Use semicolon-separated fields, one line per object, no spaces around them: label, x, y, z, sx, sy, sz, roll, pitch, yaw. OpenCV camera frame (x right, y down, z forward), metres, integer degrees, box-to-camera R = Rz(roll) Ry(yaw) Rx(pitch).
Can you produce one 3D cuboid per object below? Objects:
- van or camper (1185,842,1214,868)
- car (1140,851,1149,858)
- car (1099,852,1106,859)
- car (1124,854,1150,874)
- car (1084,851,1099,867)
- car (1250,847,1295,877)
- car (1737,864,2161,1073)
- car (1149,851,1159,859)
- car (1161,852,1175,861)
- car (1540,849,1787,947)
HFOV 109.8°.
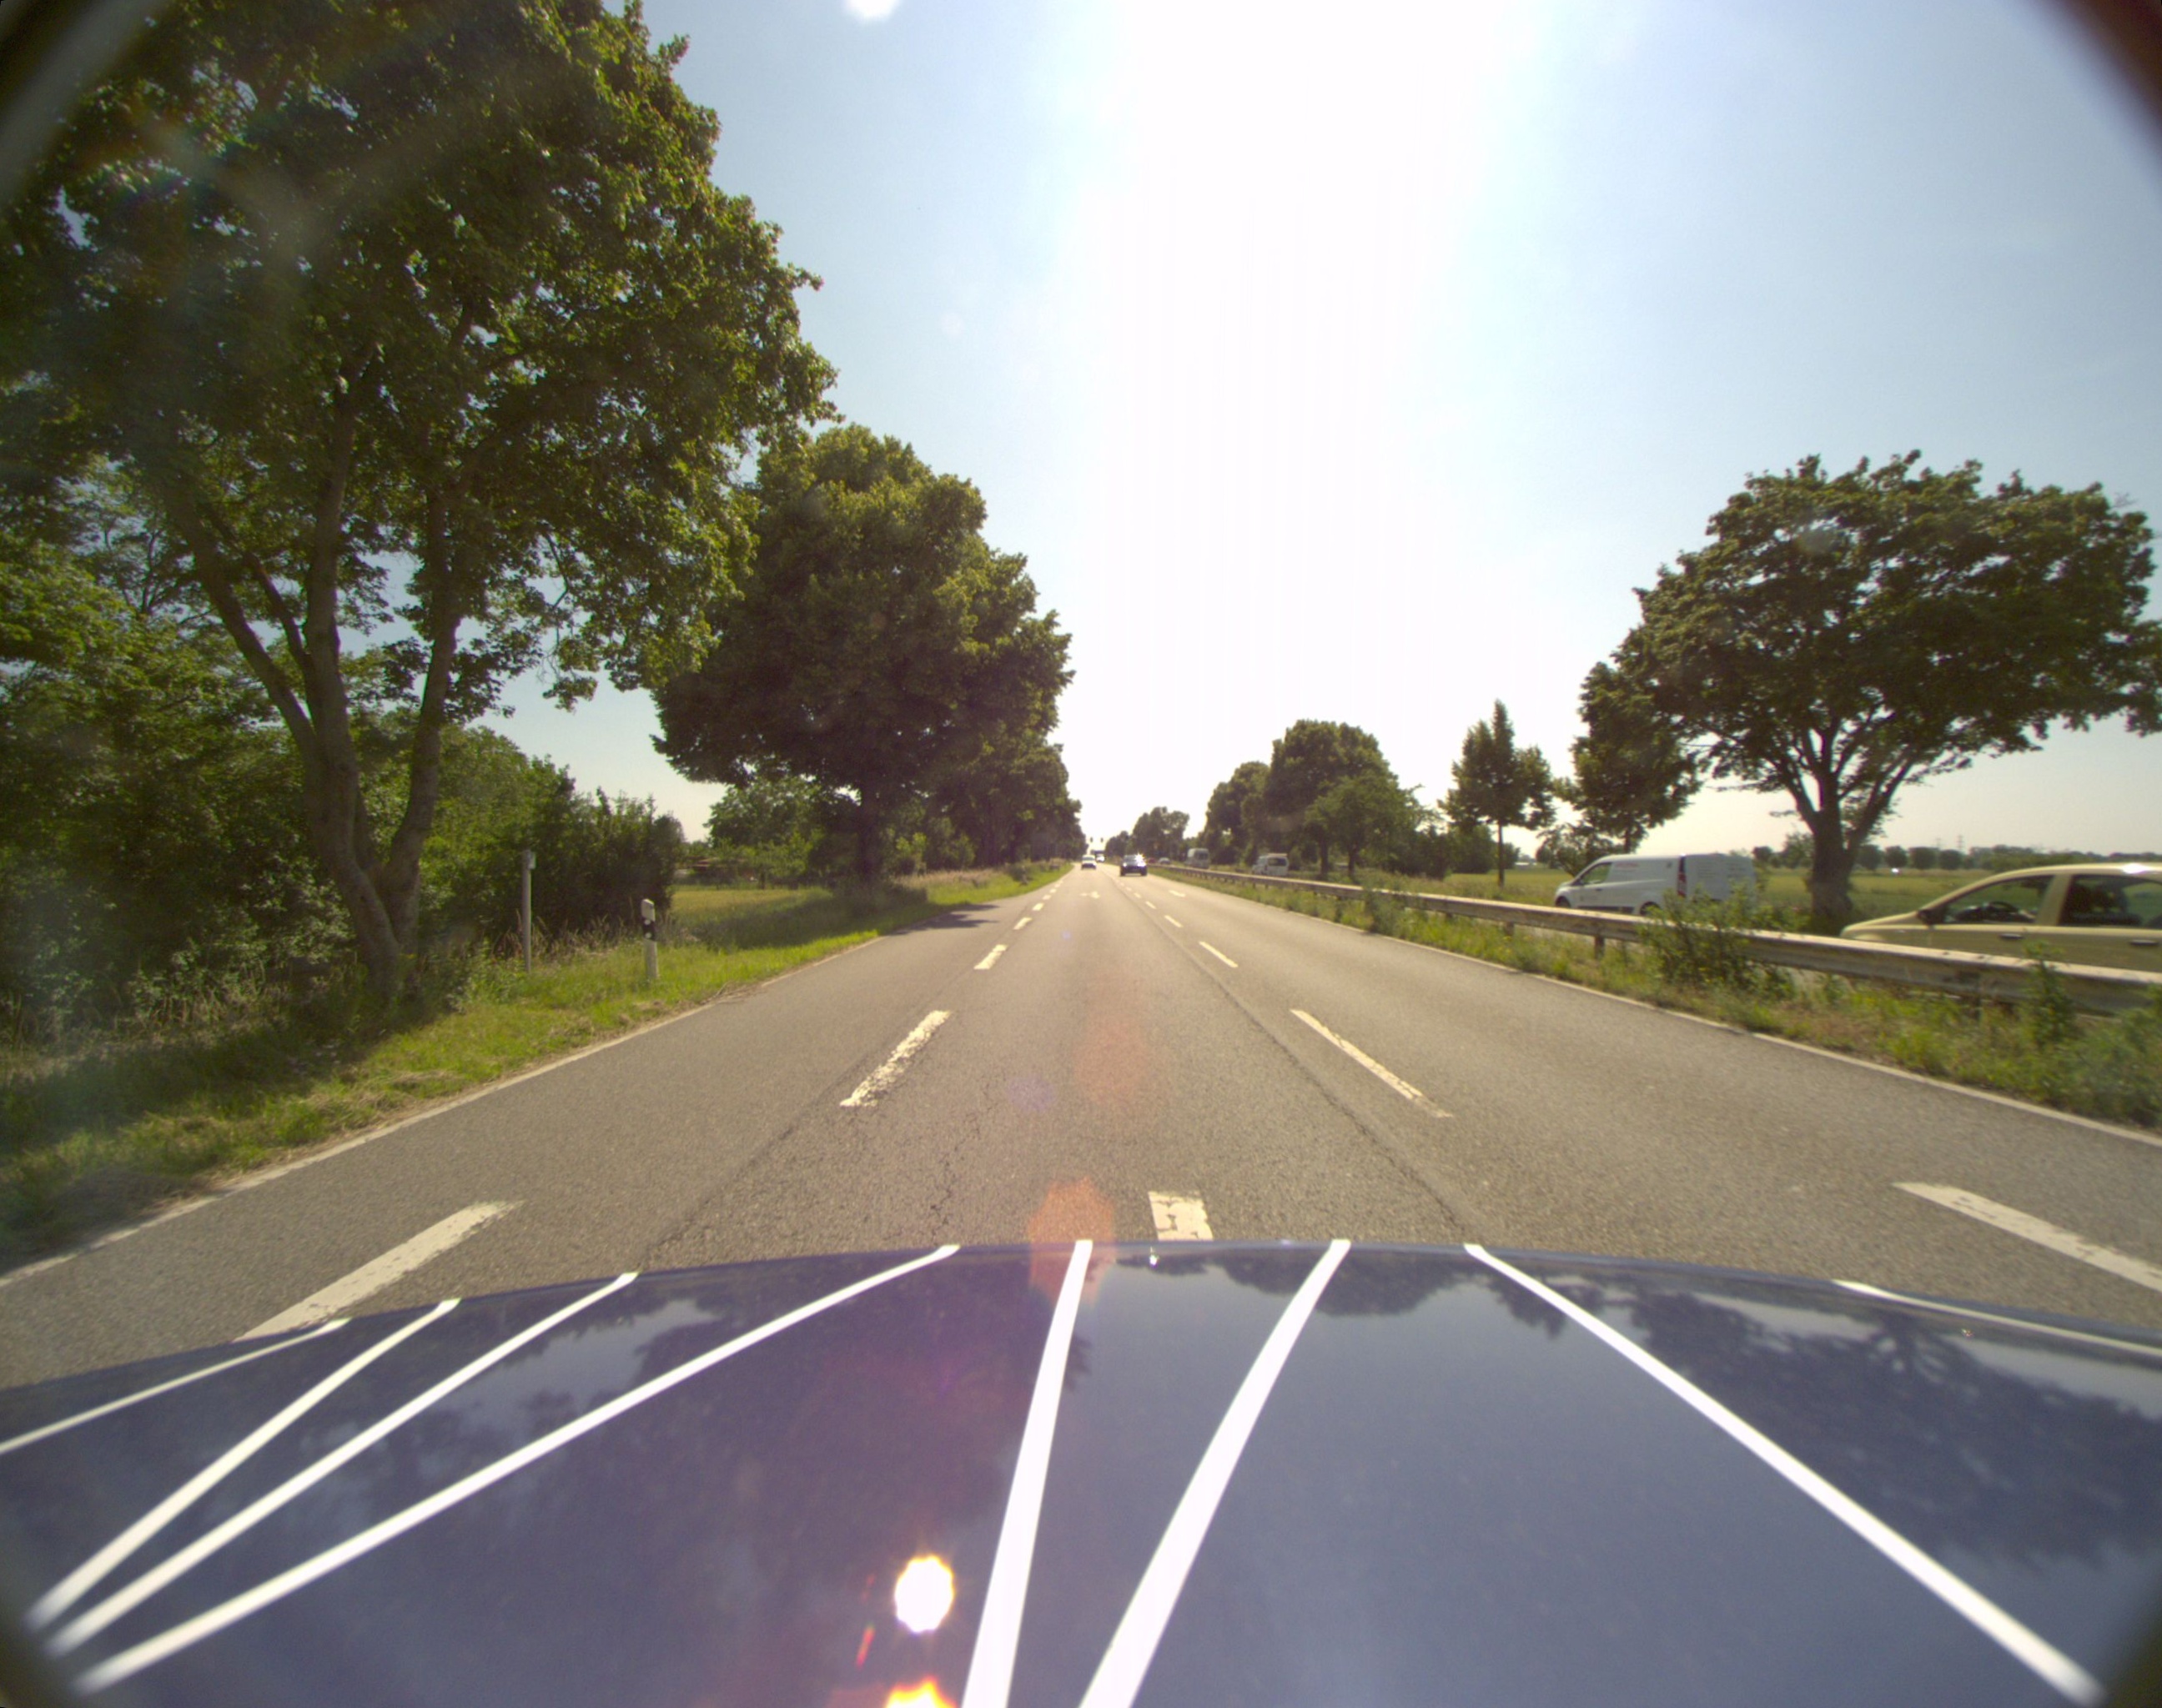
van or camper;14.116;0.142;91.075;2.391;2.931;7.091;1;0;1
car;15.411;0.113;185.193;1.765;1.581;3.894;0;0;0
car;5.908;0.334;209.685;1.886;1.775;4.000;1;0;0
car;4.348;0.756;59.511;1.860;1.507;4.100;-1;0;2
car;1.253;0.630;91.554;1.777;1.863;4.580;0;0;0
car;13.493;0.521;53.819;2.043;2.002;4.531;0;1;0
car;9.400;0.921;7.487;1.998;1.548;4.480;0;0;0
car;15.486;0.226;161.123;1.765;1.581;3.894;0;0;0
car;15.345;0.362;134.188;1.960;1.581;4.865;1;0;0
car;13.212;0.875;17.756;1.998;1.949;4.927;0;0;0
